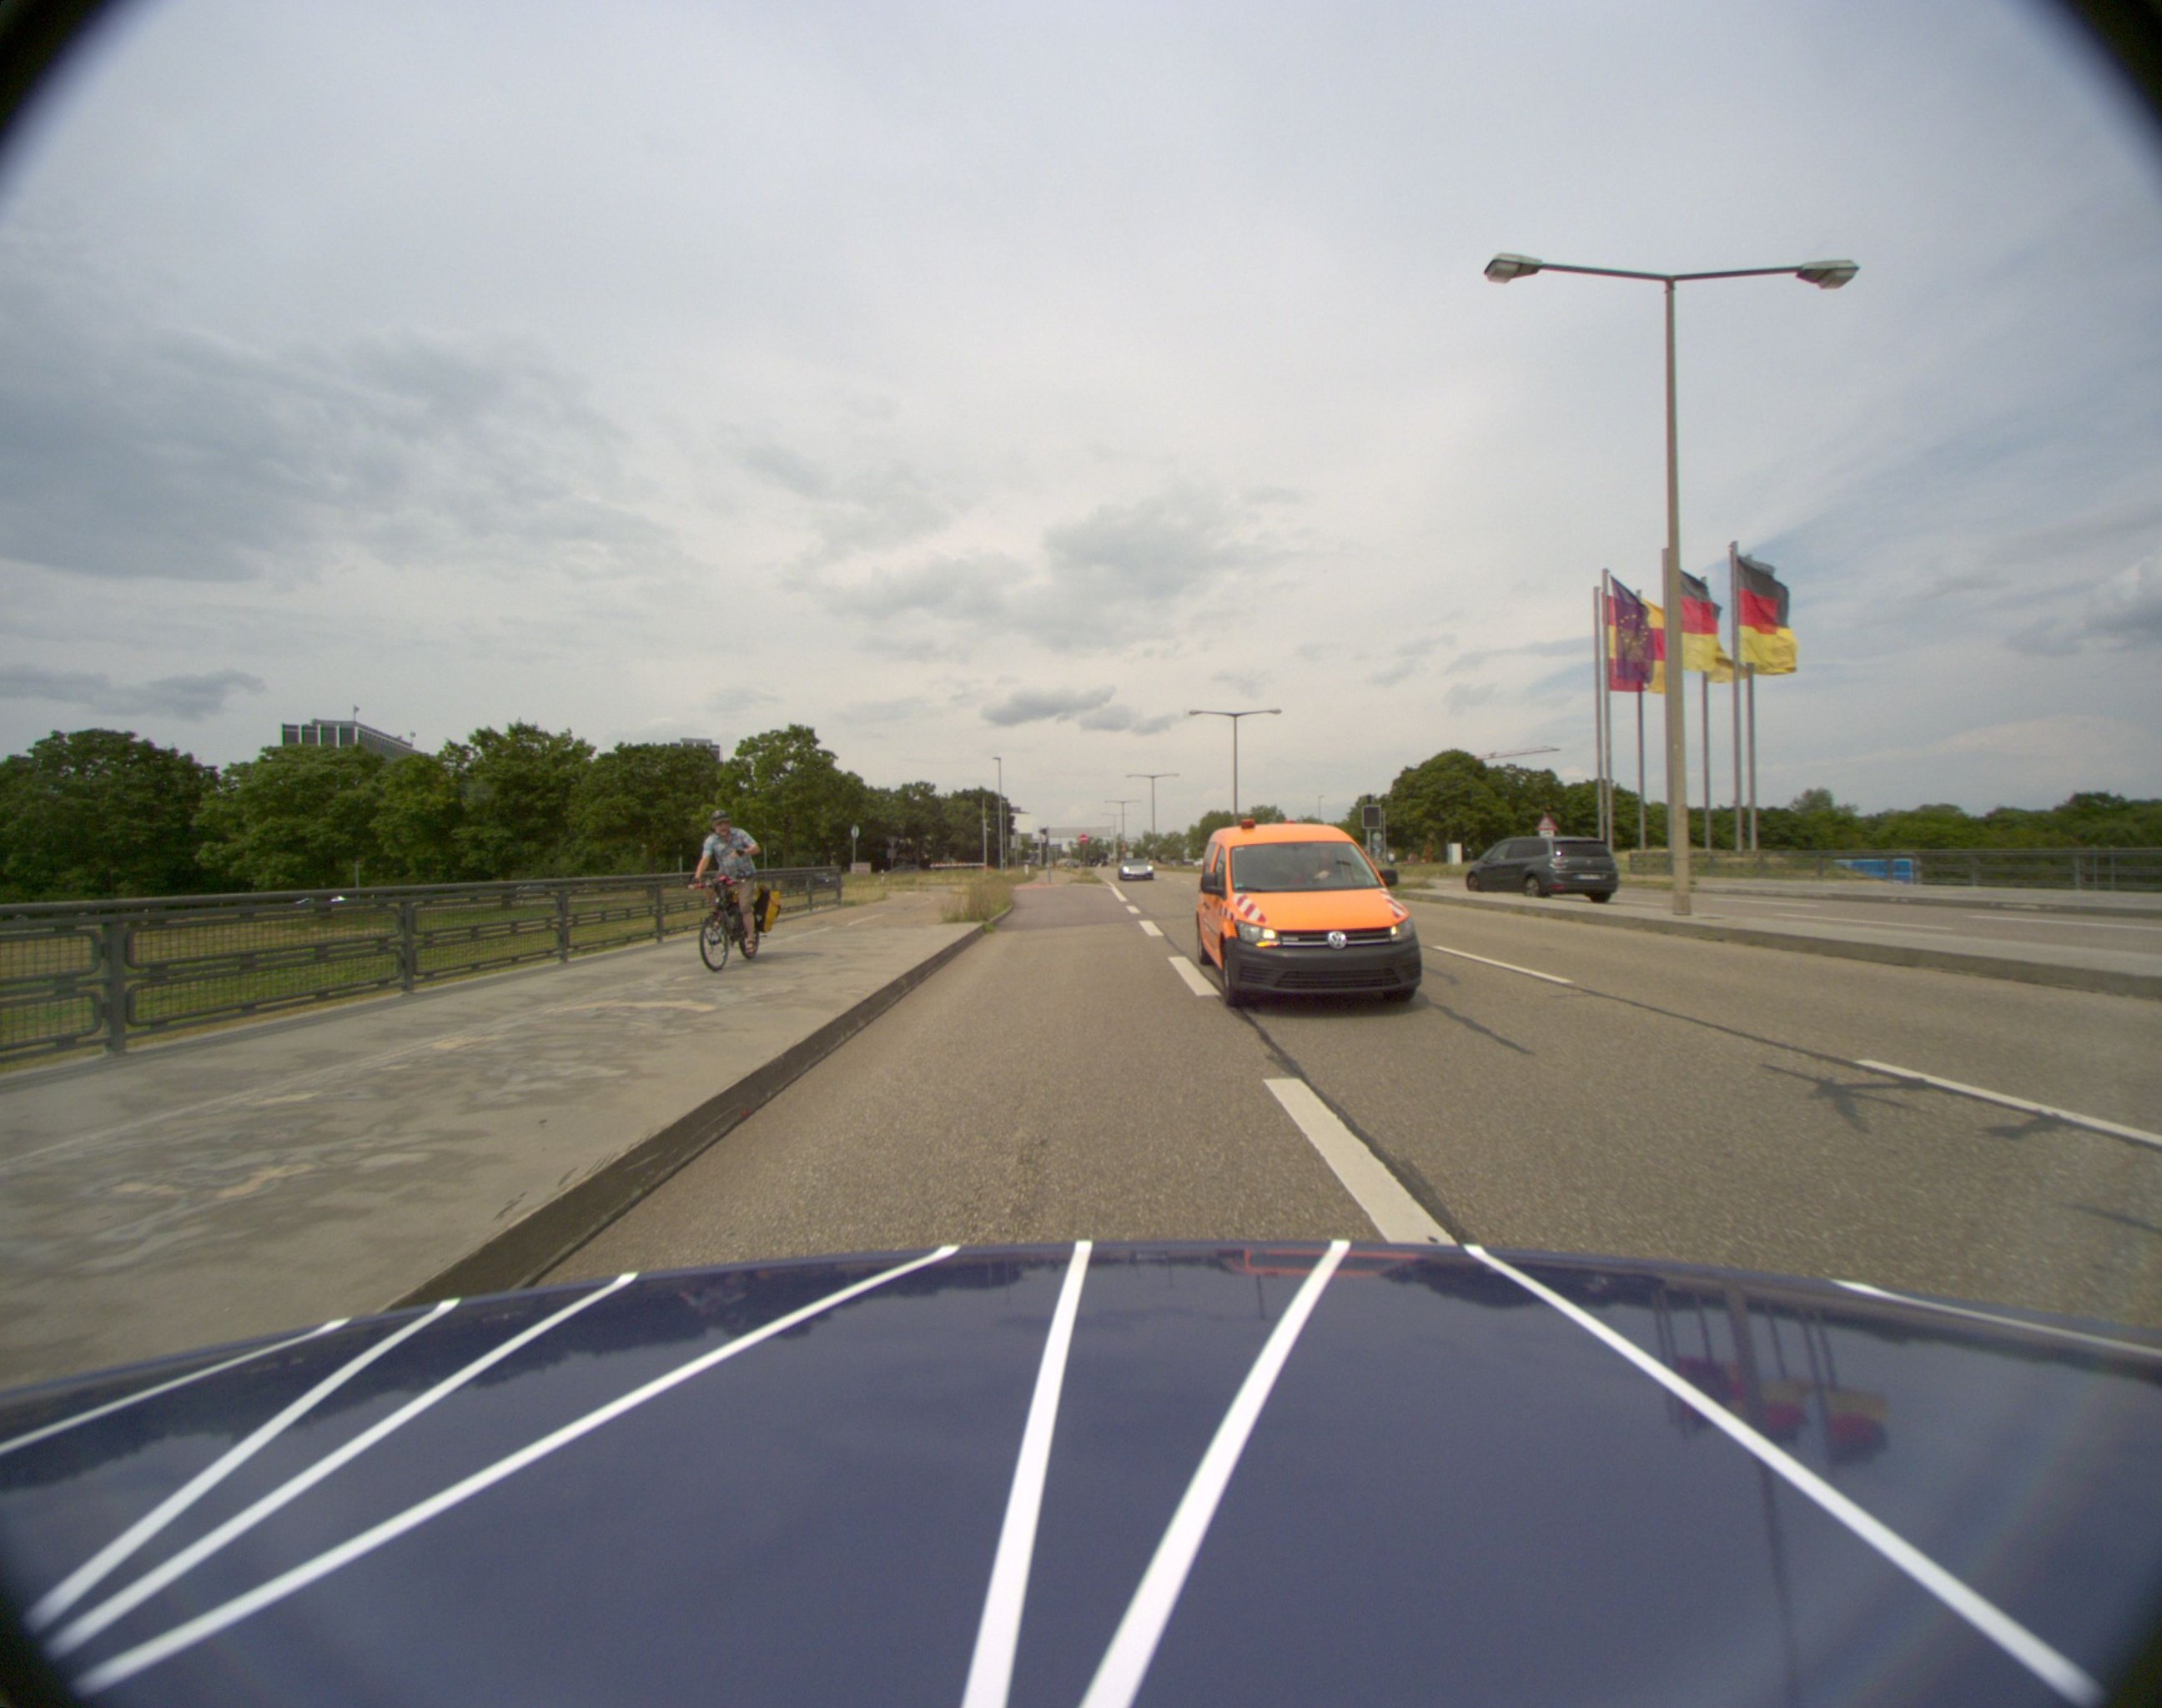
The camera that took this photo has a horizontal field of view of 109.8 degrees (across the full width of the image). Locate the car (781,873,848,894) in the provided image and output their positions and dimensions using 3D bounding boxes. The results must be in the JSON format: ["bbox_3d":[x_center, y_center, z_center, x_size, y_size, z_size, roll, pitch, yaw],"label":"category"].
[{"bbox_3d":[-19.766,2.183,56.408,4.237,1.275,1.804,-2,0,8],"label":"car"}]

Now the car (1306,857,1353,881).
[{"bbox_3d":[16.135,0.969,49.491,1.696,1.485,3.999,0,0,-2],"label":"car"}]

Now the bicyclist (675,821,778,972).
[{"bbox_3d":[-4.387,0.514,9.483,0.873,1.791,0.956,1,0,-6],"label":"bicyclist"}]

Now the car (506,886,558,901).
[{"bbox_3d":[-52.324,3.758,72.517,3.688,1.124,1.676,-2,0,-24],"label":"car"}]

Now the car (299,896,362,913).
[{"bbox_3d":[-67.778,4.583,68.707,3.684,1.265,1.678,-2,0,-12],"label":"car"}]

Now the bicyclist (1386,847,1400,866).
[{"bbox_3d":[25.727,0.218,62.746,0.820,1.583,0.737,-1,0,0],"label":"bicyclist"}]

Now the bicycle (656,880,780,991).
[{"bbox_3d":[-4.371,0.934,9.314,0.815,1.134,1.762,-1,1,-6],"label":"bicycle"}]

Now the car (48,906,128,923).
[{"bbox_3d":[-82.714,5.045,63.358,3.688,1.124,1.676,-2,0,-24],"label":"car"}]

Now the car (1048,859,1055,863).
[{"bbox_3d":[-7.885,1.895,204.171,1.695,1.230,3.469,-2,0,-1],"label":"car"}]

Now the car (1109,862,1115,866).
[{"bbox_3d":[9.770,3.098,239.877,1.695,1.230,3.469,-2,0,-1],"label":"car"}]

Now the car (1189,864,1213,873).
[{"bbox_3d":[20.587,2.522,130.614,3.631,1.456,1.700,-3,0,40],"label":"car"}]

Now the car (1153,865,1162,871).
[{"bbox_3d":[17.243,3.235,171.941,1.695,1.230,3.469,-2,0,-1],"label":"car"}]

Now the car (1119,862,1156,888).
[{"bbox_3d":[3.334,1.213,45.463,1.696,1.403,3.683,-2,0,-3],"label":"car"}]

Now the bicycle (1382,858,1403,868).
[{"bbox_3d":[25.689,0.737,62.761,0.820,0.729,2.222,-1,0,0],"label":"bicycle"}]

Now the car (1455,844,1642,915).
[{"bbox_3d":[11.929,0.609,19.864,1.999,1.630,4.662,0,0,-1],"label":"car"}]

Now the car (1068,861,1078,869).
[{"bbox_3d":[-1.339,1.765,122.117,1.558,1.230,3.469,-2,0,-1],"label":"car"}]

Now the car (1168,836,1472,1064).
[{"bbox_3d":[2.248,0.818,8.546,1.893,1.824,4.430,-2,0,-1],"label":"car"}]

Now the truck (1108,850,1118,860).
[{"bbox_3d":[7.186,0.271,169.376,1.999,2.002,4.000,-1,0,-1],"label":"truck"}]
